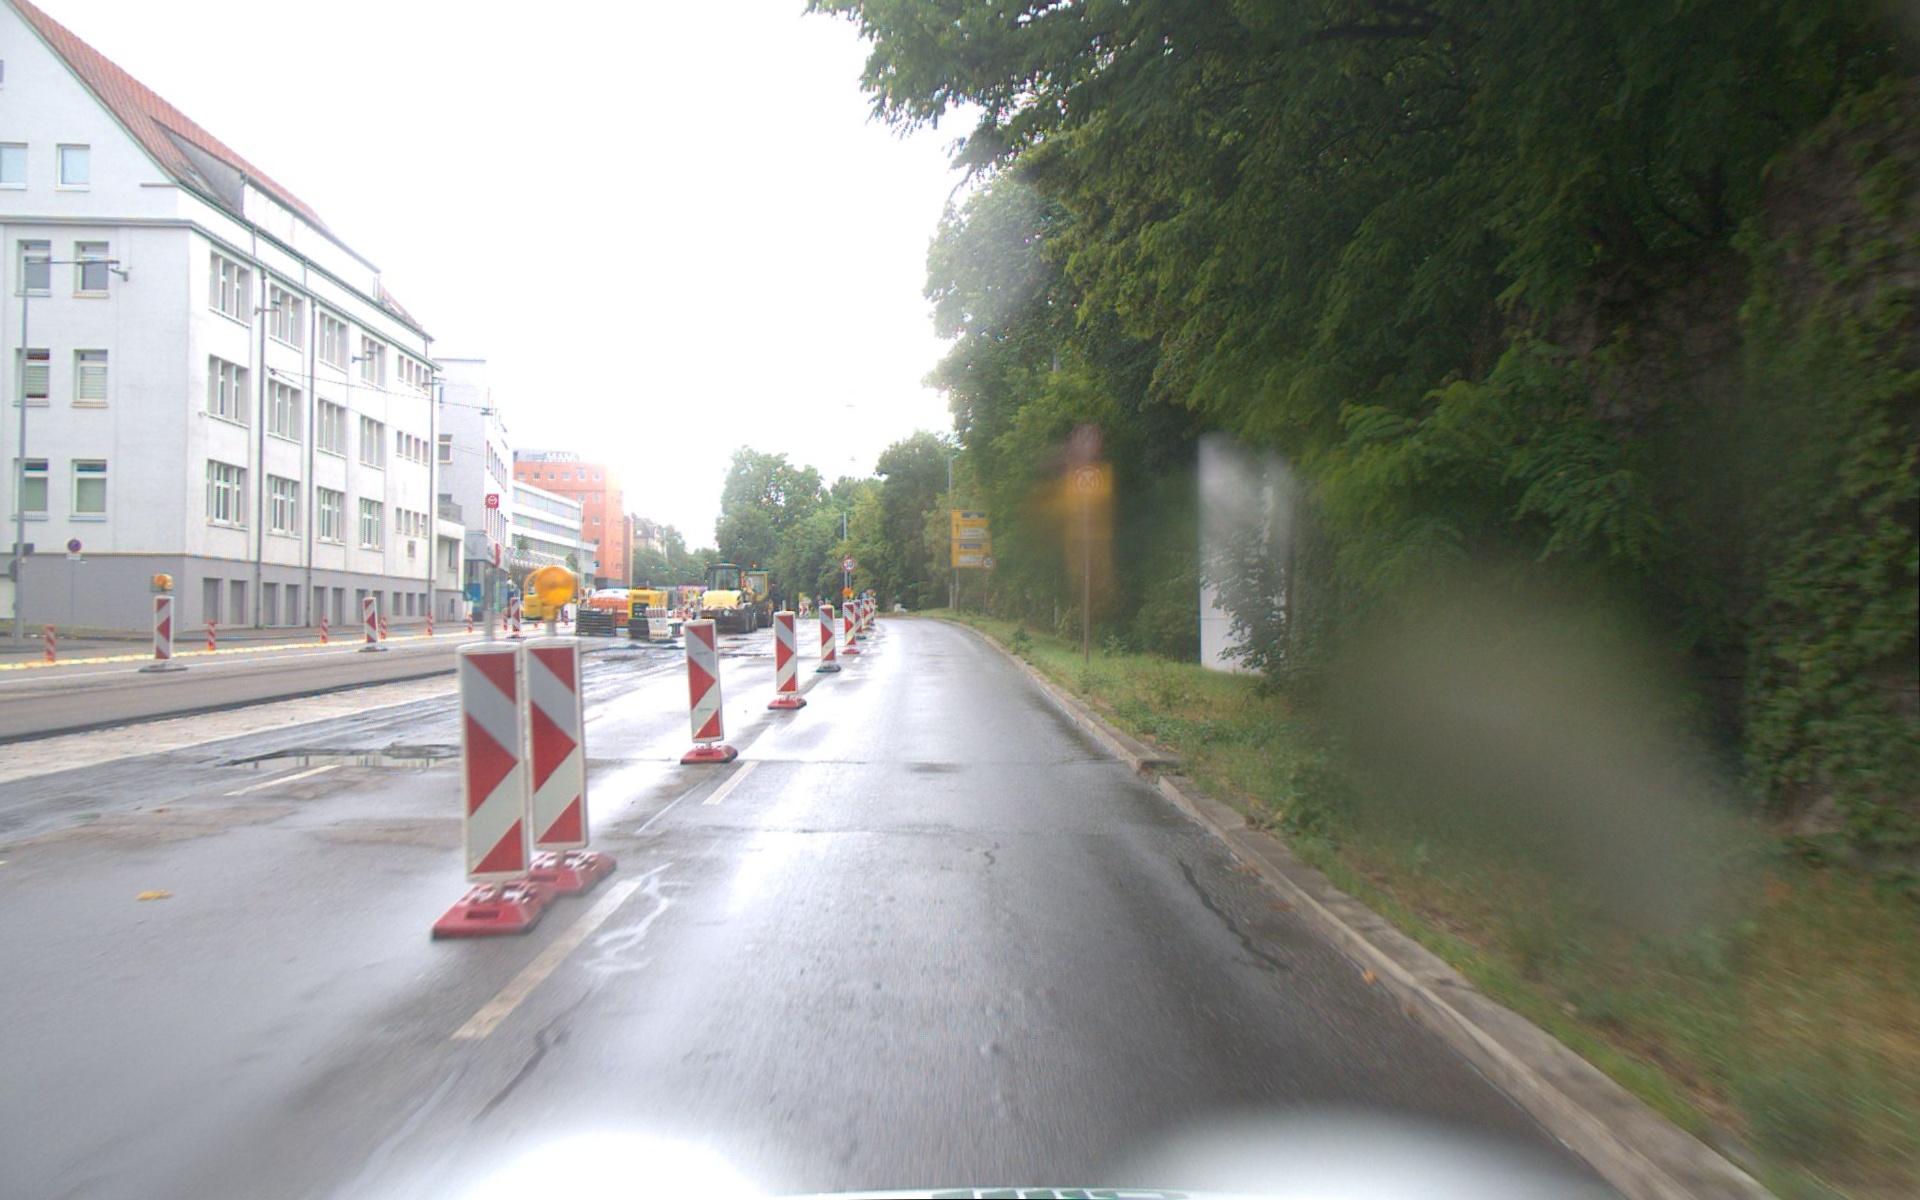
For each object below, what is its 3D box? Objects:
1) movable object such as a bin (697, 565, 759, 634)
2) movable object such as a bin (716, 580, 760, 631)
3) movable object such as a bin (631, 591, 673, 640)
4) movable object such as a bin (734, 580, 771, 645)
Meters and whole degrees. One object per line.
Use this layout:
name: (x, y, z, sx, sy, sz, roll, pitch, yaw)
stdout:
movable object such as a bin: (-9.178, -0.020, 65.804, 1.864, 2.655, 5.381, 0, 0, -1)
movable object such as a bin: (-9.505, 0.217, 71.200, 1.335, 2.126, 5.028, 0, 0, -1)
movable object such as a bin: (-10.663, 0.522, 57.290, 1.061, 1.673, 2.438, 0, 0, -2)
movable object such as a bin: (-10.075, 0.606, 80.537, 1.436, 3.061, 3.722, -2, 0, -3)
